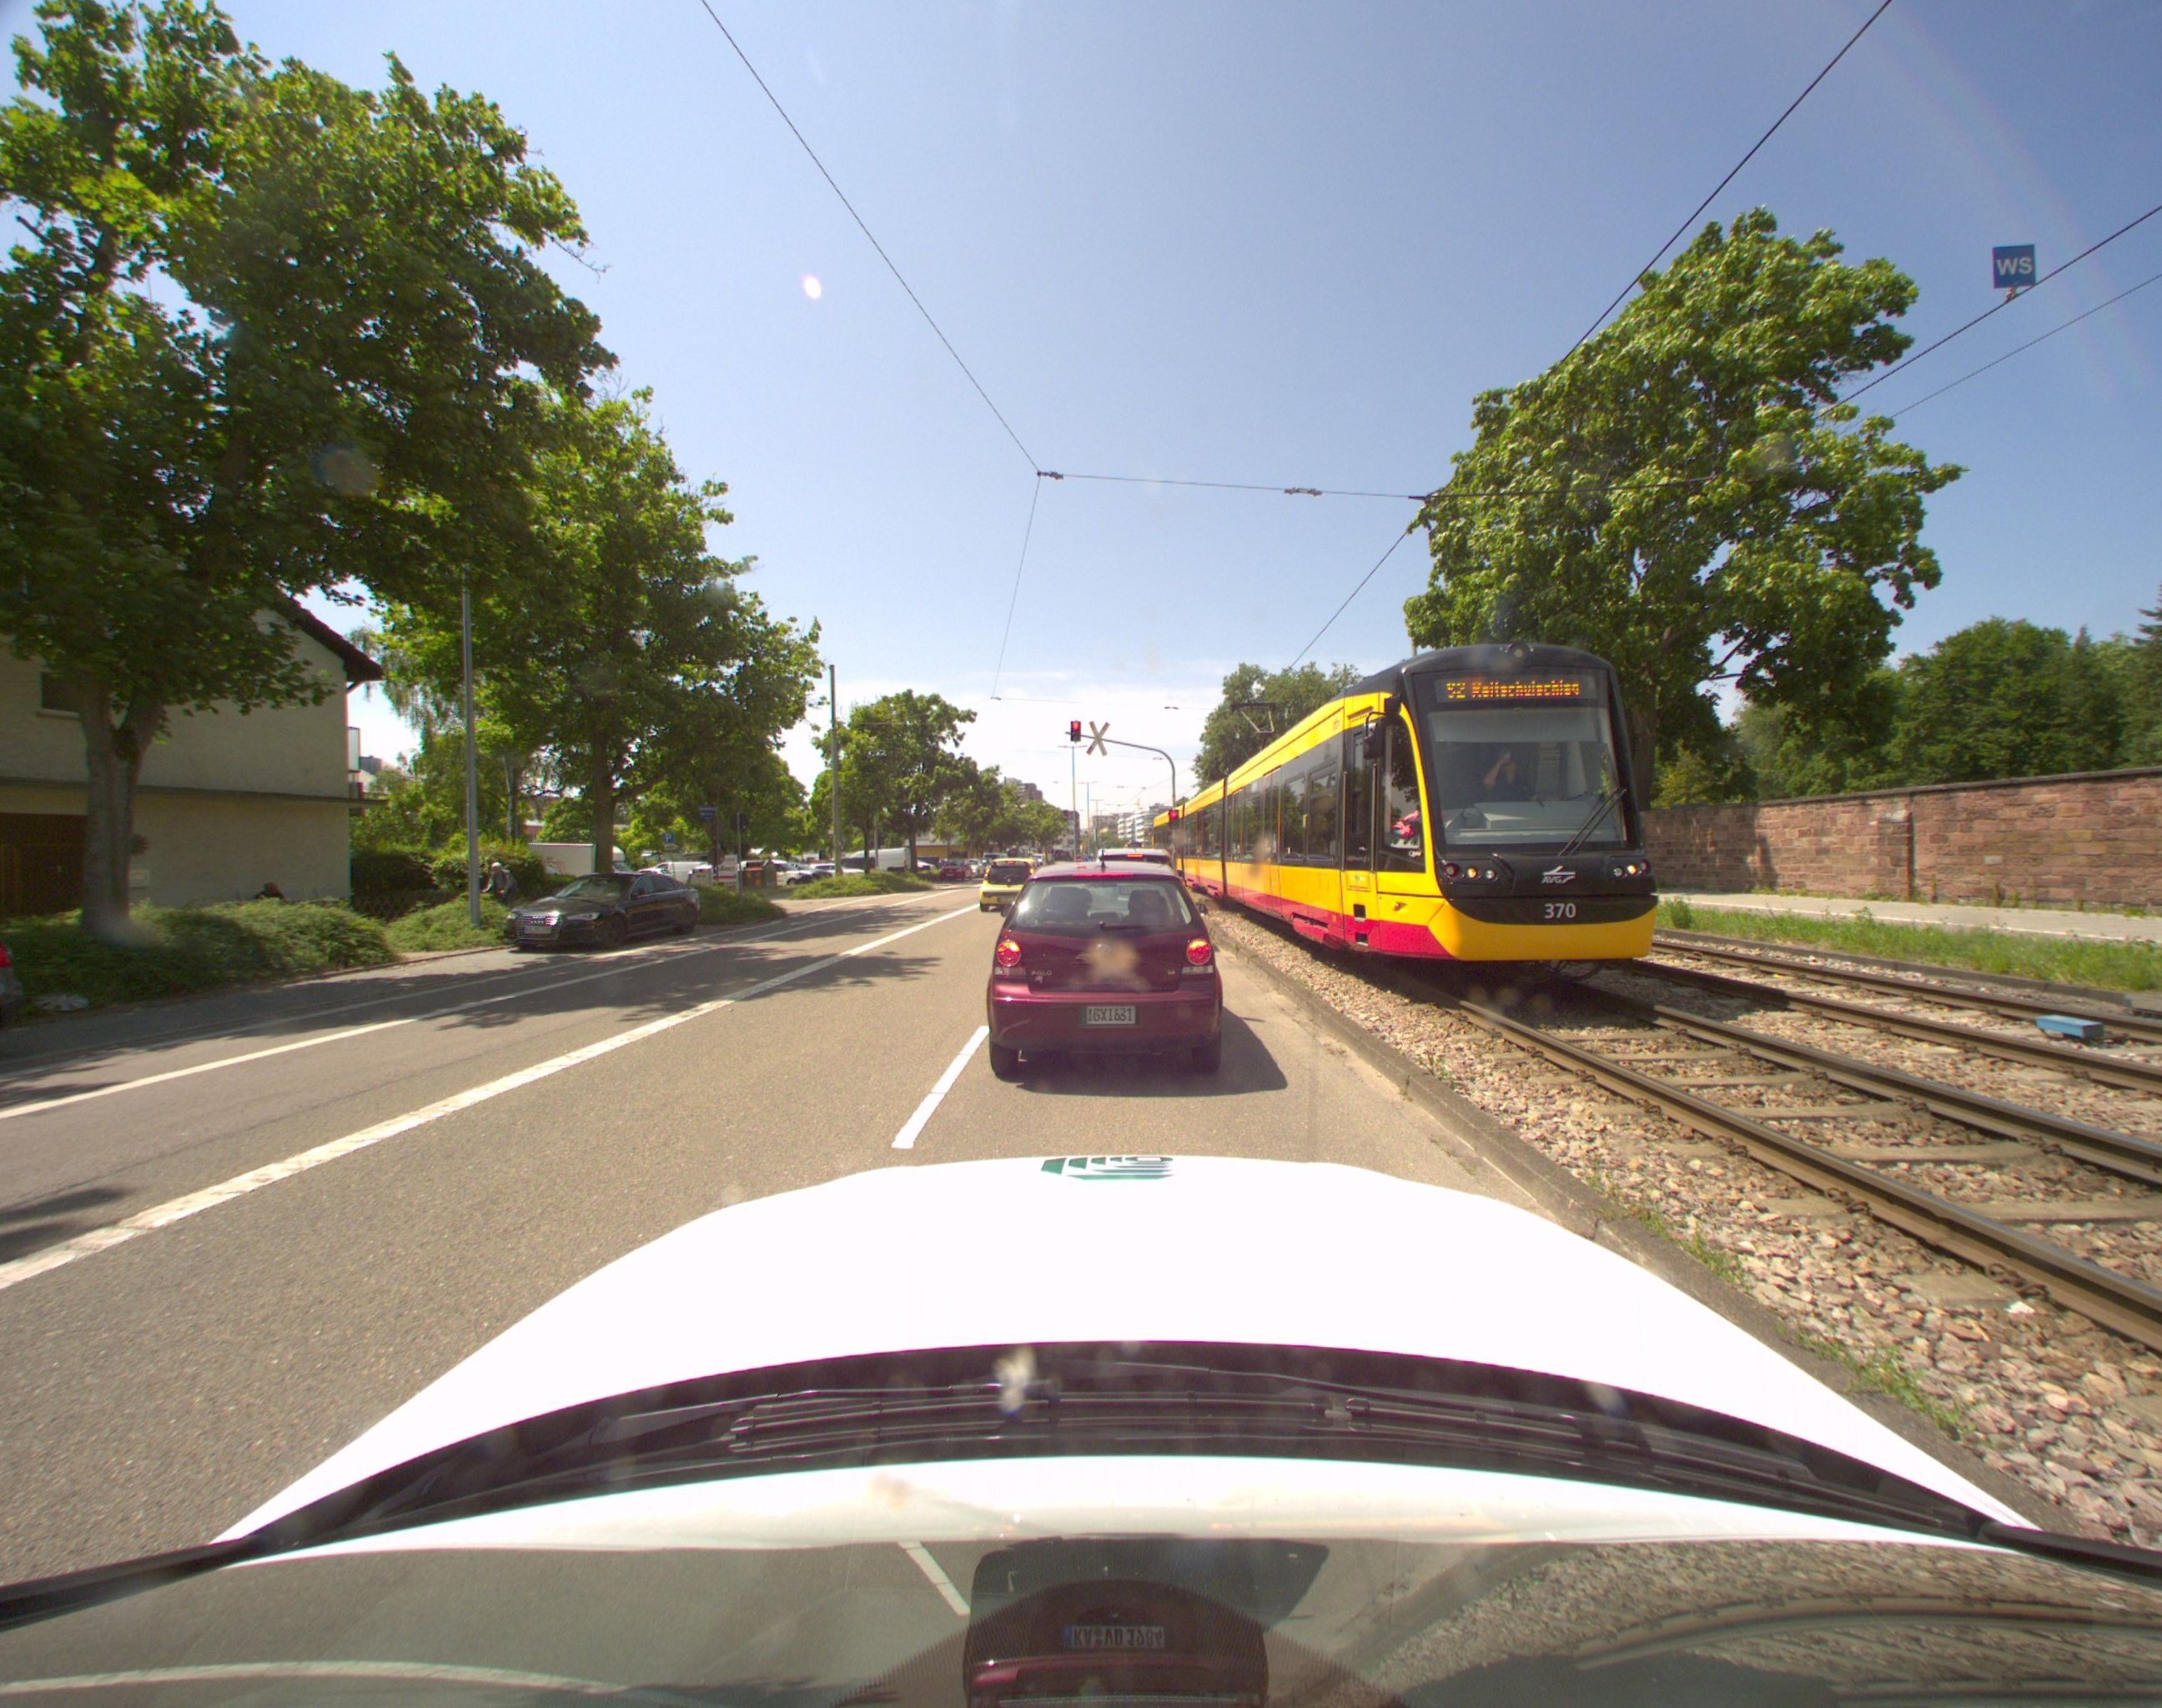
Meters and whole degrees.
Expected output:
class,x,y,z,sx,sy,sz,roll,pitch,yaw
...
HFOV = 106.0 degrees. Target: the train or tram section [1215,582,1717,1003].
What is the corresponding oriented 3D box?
class,x,y,z,sx,sy,sz,roll,pitch,yaw
train or tram section,4.369,-0.563,13.466,2.730,3.609,12.878,1,0,2
